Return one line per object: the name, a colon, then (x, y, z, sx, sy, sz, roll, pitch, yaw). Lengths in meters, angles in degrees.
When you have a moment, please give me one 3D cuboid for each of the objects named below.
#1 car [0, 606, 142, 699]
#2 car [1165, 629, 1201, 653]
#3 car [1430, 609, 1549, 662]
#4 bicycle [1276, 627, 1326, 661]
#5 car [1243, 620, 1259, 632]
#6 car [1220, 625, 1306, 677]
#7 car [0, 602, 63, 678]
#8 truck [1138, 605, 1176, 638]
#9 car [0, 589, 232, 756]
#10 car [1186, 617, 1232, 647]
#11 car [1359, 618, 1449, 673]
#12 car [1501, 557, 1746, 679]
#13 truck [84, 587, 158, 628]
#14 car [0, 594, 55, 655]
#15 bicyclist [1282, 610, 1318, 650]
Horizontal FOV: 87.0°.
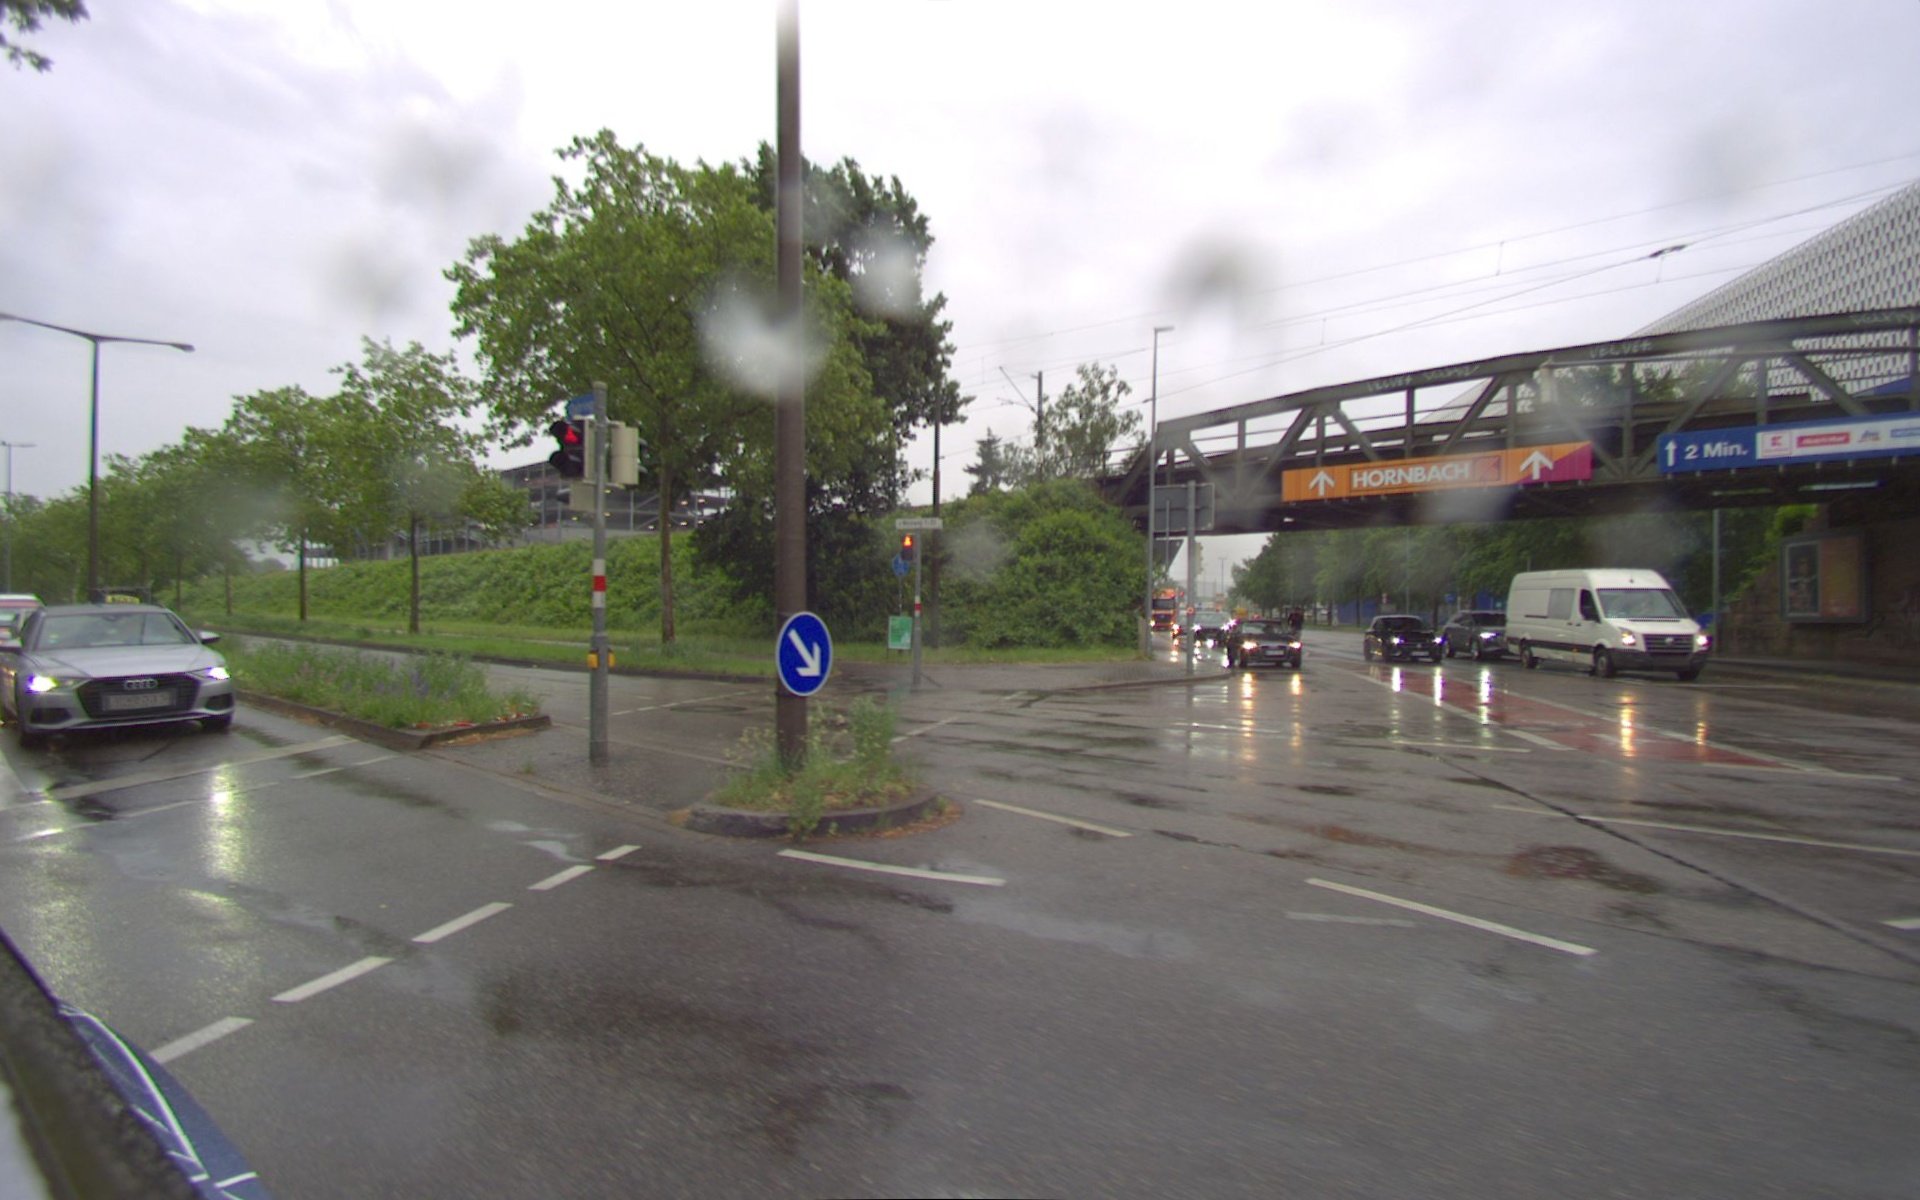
car: (-15.707, 0.835, 17.604, 4.010, 1.387, 1.661, 0, 1, 42)
car: (14.083, 2.557, 64.056, 1.672, 1.445, 4.140, 0, -1, 5)
car: (17.445, 1.126, 33.614, 1.860, 1.612, 4.942, 0, -1, 7)
bicycle: (13.019, 1.647, 38.805, 1.186, 1.213, 3.441, 0, -1, 8)
car: (41.756, 3.700, 145.311, 1.635, 1.612, 3.900, 0, -1, 8)
car: (9.037, 1.490, 30.492, 1.672, 1.445, 4.140, 0, -1, 5)
car: (-20.494, 0.819, 21.560, 4.093, 1.476, 1.700, 0, 1, 44)
truck: (18.357, 1.937, 94.679, 2.521, 2.847, 8.172, -2, -1, 5)
car: (-10.353, 0.707, 12.086, 4.821, 1.586, 1.750, 0, 1, 43)
car: (12.615, 1.613, 51.485, 1.672, 1.445, 4.140, 0, -1, 5)
car: (14.250, 1.405, 32.651, 1.635, 1.612, 3.900, 0, -1, 8)
car: (16.177, 0.426, 25.354, 2.360, 2.631, 6.961, 0, -1, 8)
truck: (-51.590, 0.467, 62.160, 6.865, 2.383, 2.448, 0, -1, 42)
car: (-27.415, 0.684, 28.987, 4.147, 1.624, 1.807, 0, 1, 43)
bicyclist: (13.025, 1.130, 38.814, 1.139, 1.495, 1.054, 0, -1, 8)
